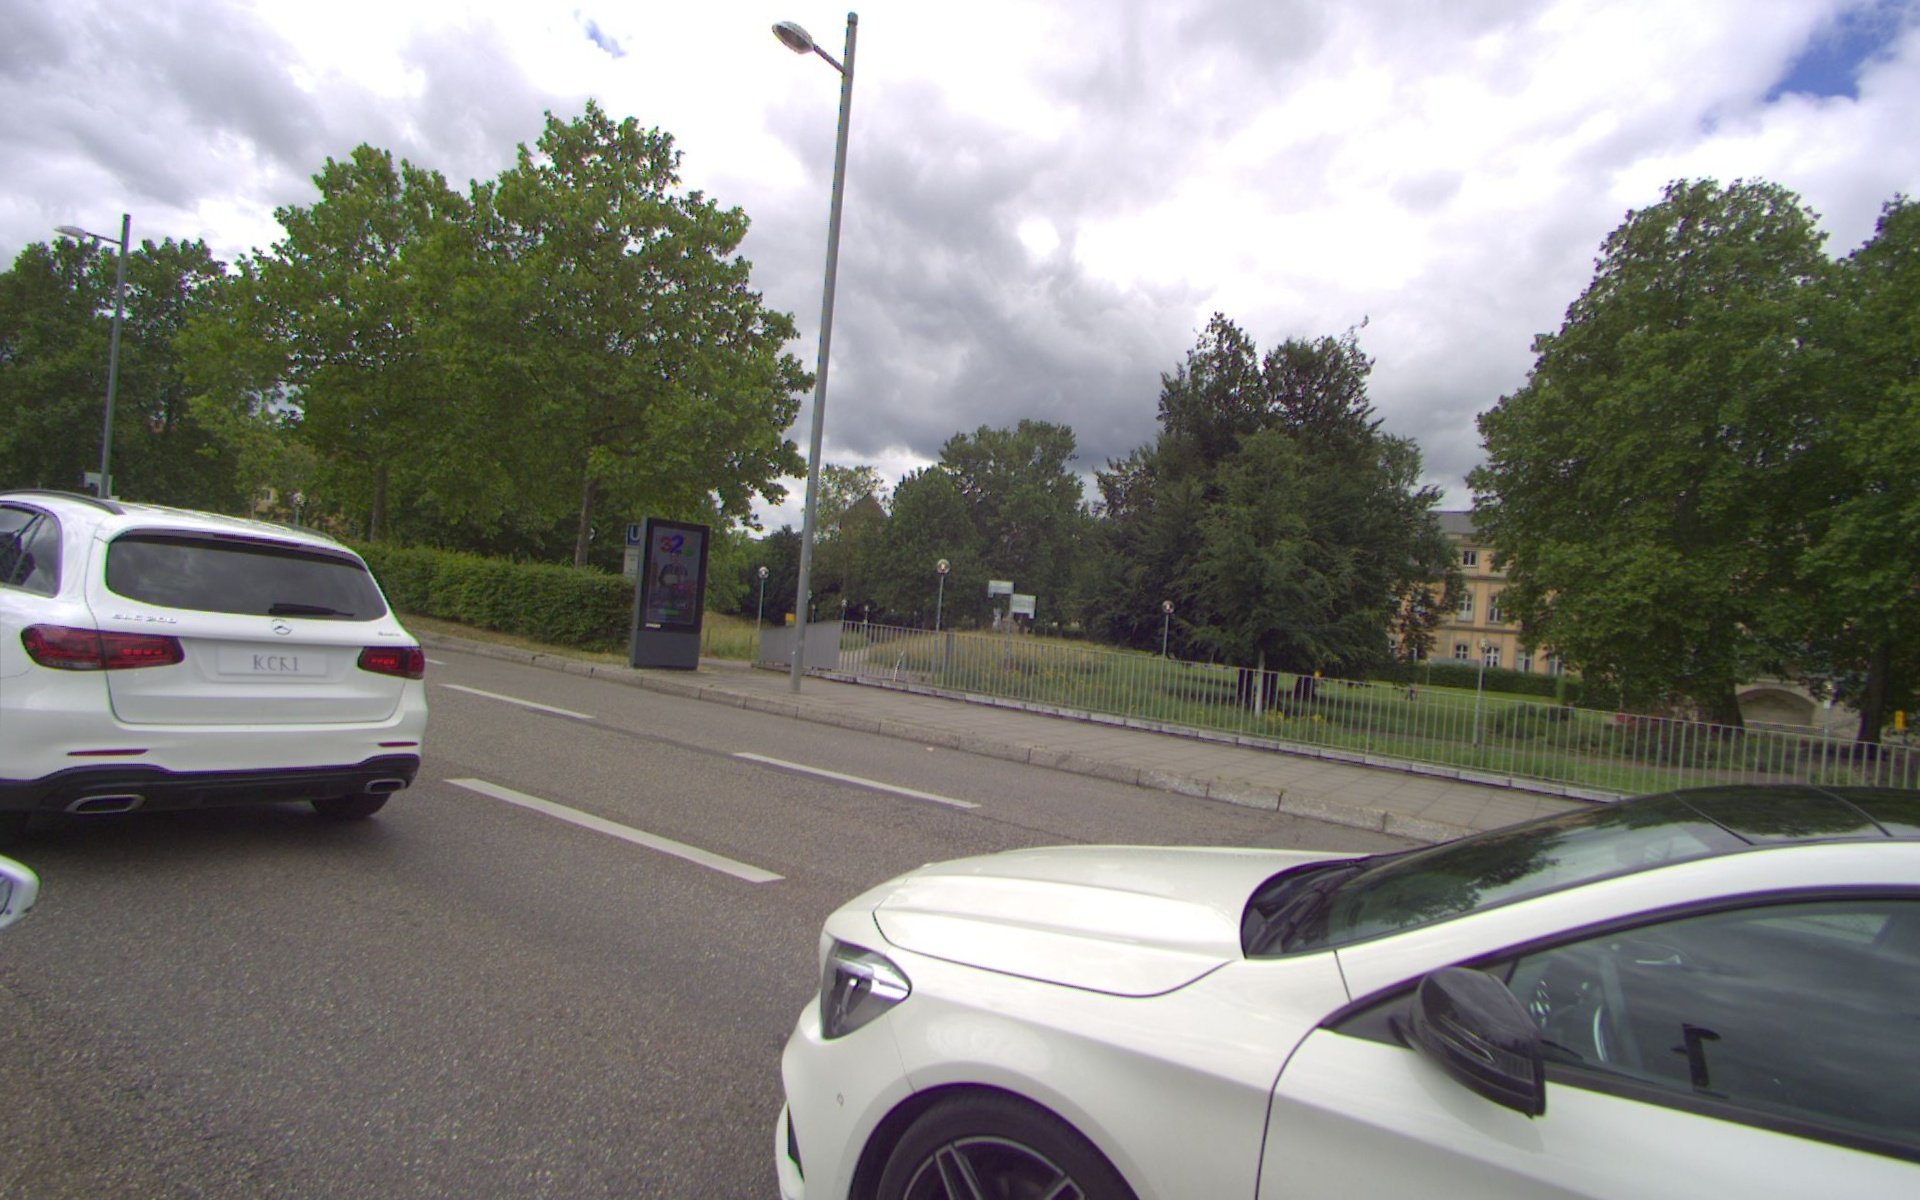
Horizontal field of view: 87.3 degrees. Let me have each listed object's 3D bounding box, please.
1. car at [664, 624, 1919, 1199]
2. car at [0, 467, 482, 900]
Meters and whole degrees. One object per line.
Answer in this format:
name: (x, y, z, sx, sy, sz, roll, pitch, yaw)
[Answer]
car: (1.694, 1.031, 1.885, 4.432, 1.440, 1.722, 6, -2, 32)
car: (-4.930, 0.214, 5.796, 4.308, 1.667, 1.821, 6, -1, 33)
